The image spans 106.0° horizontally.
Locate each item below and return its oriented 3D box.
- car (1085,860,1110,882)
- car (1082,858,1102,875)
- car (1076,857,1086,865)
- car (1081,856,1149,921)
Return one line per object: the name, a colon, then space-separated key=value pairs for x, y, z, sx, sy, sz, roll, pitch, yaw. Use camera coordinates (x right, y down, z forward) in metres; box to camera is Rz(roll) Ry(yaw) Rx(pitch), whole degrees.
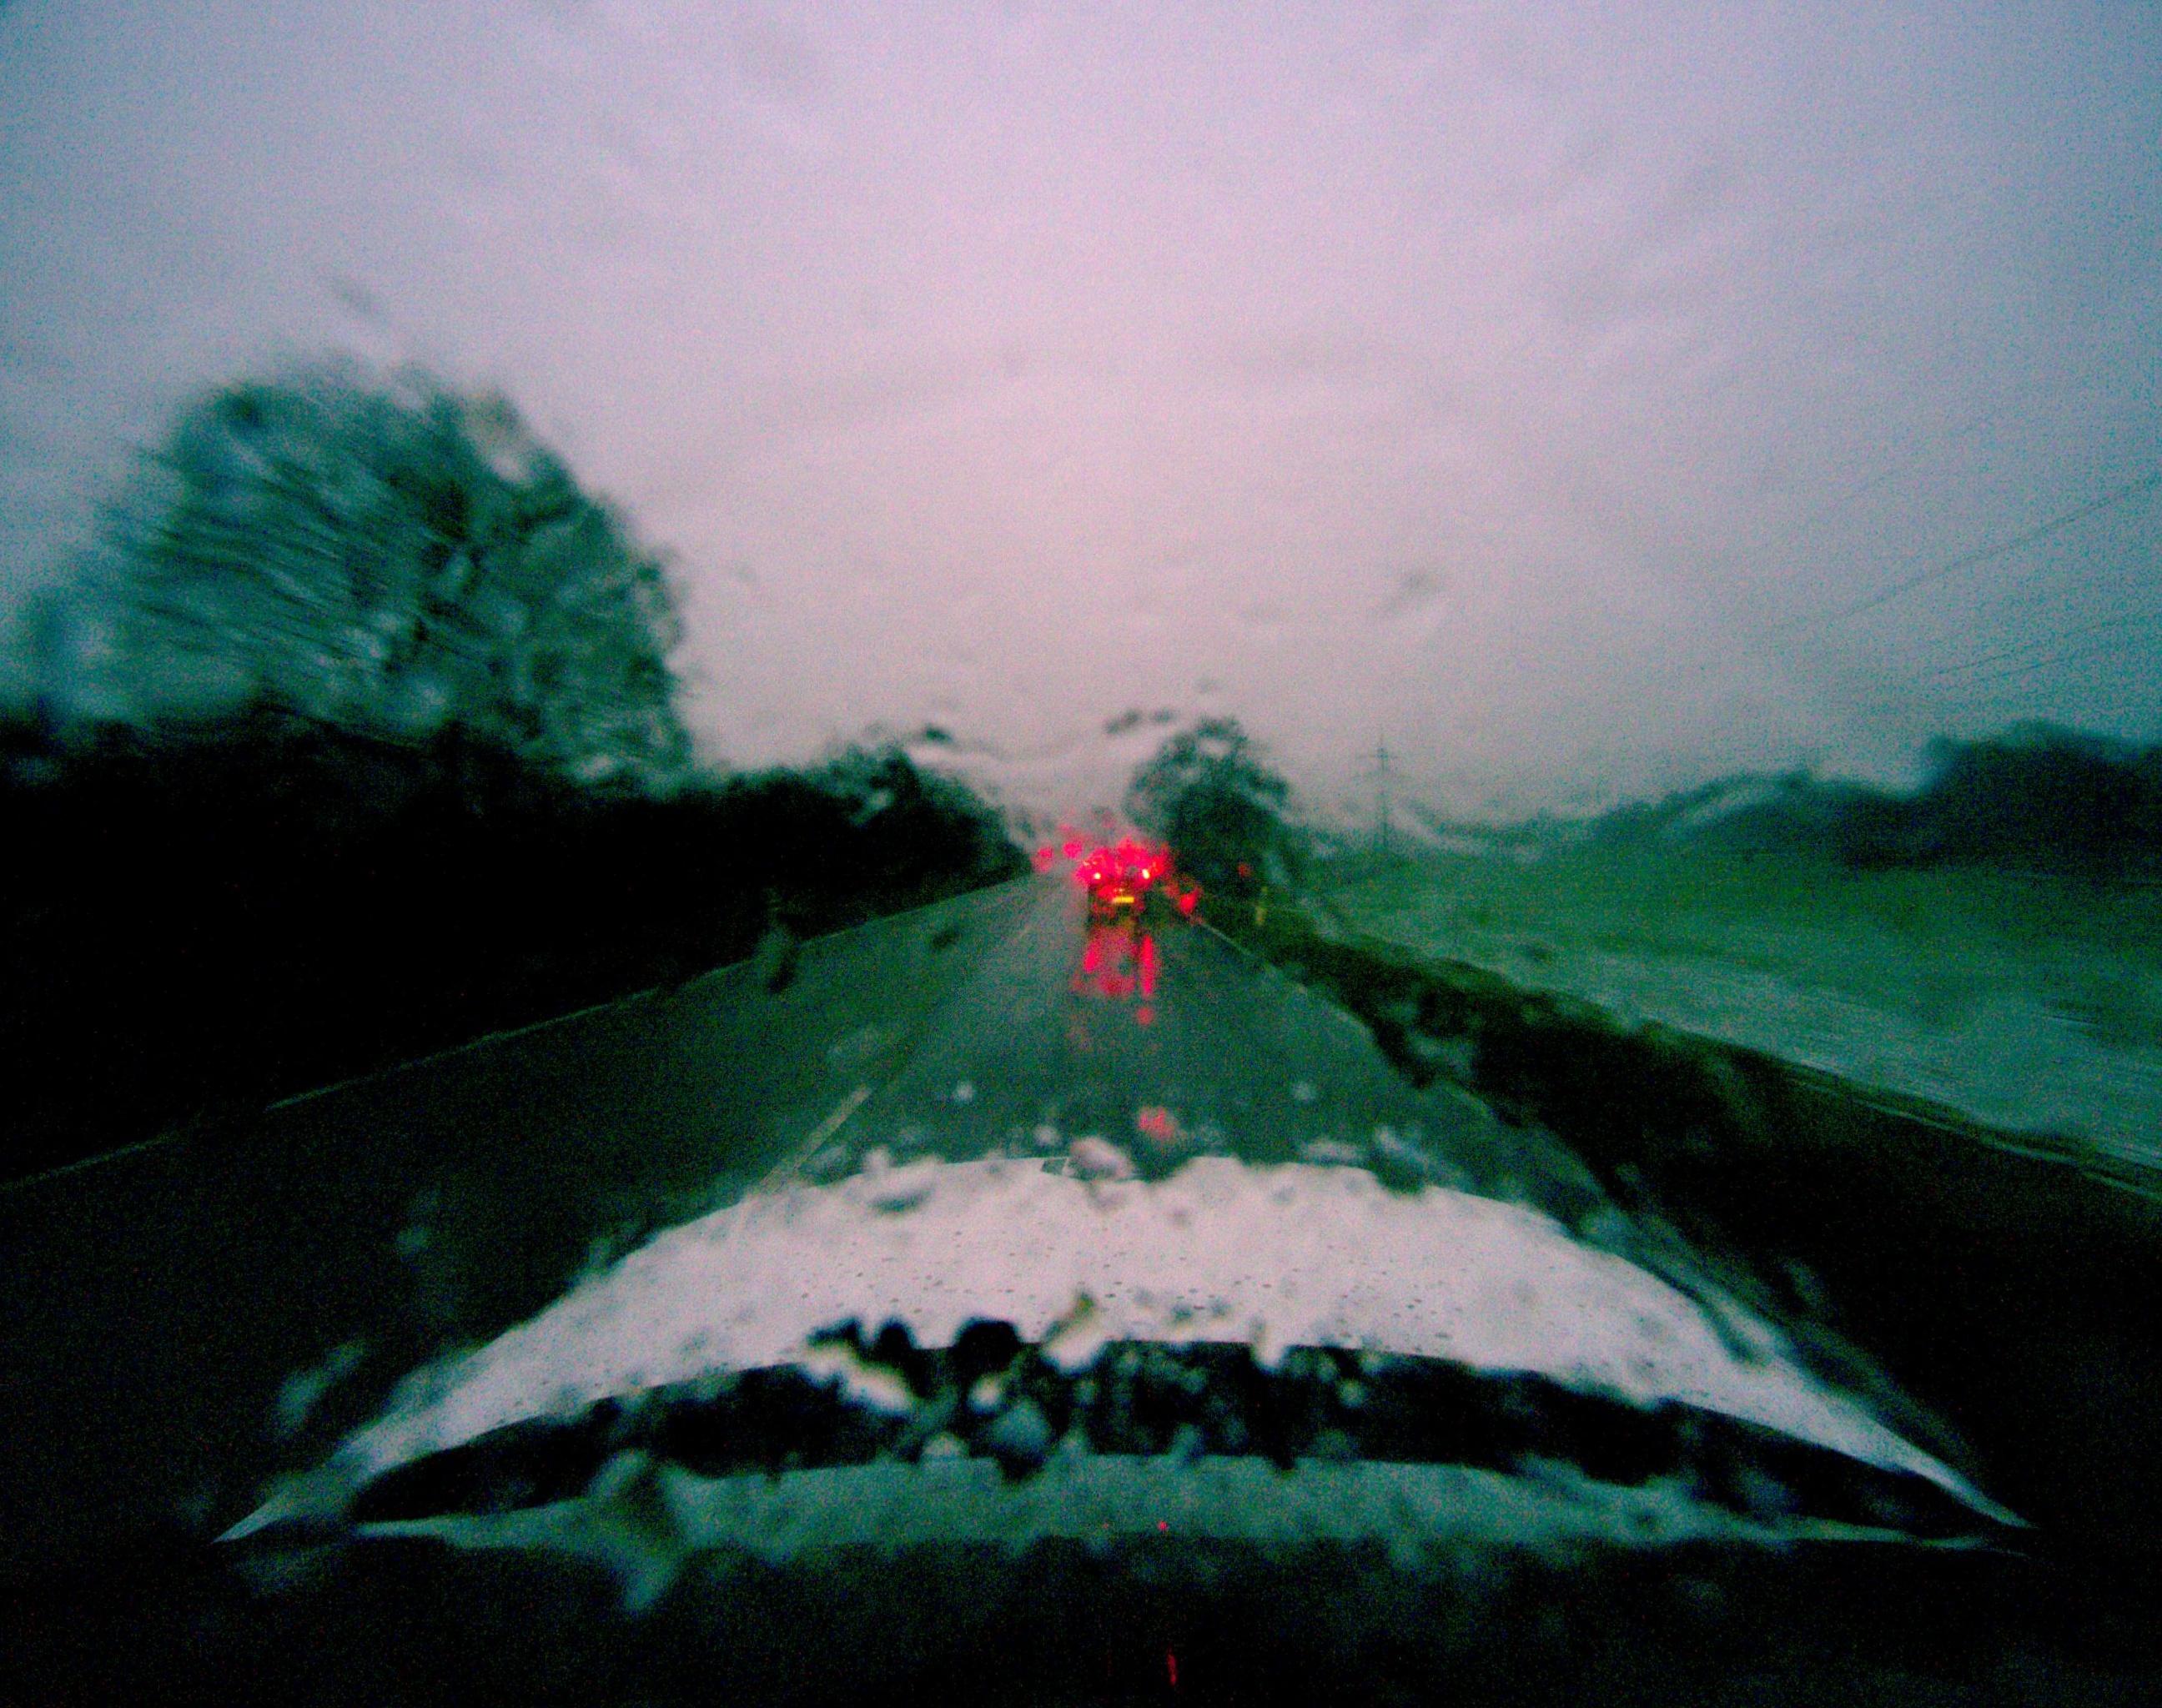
car: x=1.093 y=1.066 z=52.796 sx=1.541 sy=1.397 sz=3.870 roll=-1 pitch=0 yaw=1
car: x=0.995 y=1.090 z=71.919 sx=1.540 sy=1.397 sz=3.872 roll=-1 pitch=0 yaw=3
car: x=-0.044 y=1.258 z=140.874 sx=1.541 sy=1.397 sz=3.871 roll=-1 pitch=0 yaw=2
car: x=0.936 y=0.830 z=21.157 sx=1.595 sy=1.522 sz=3.873 roll=-1 pitch=0 yaw=4
